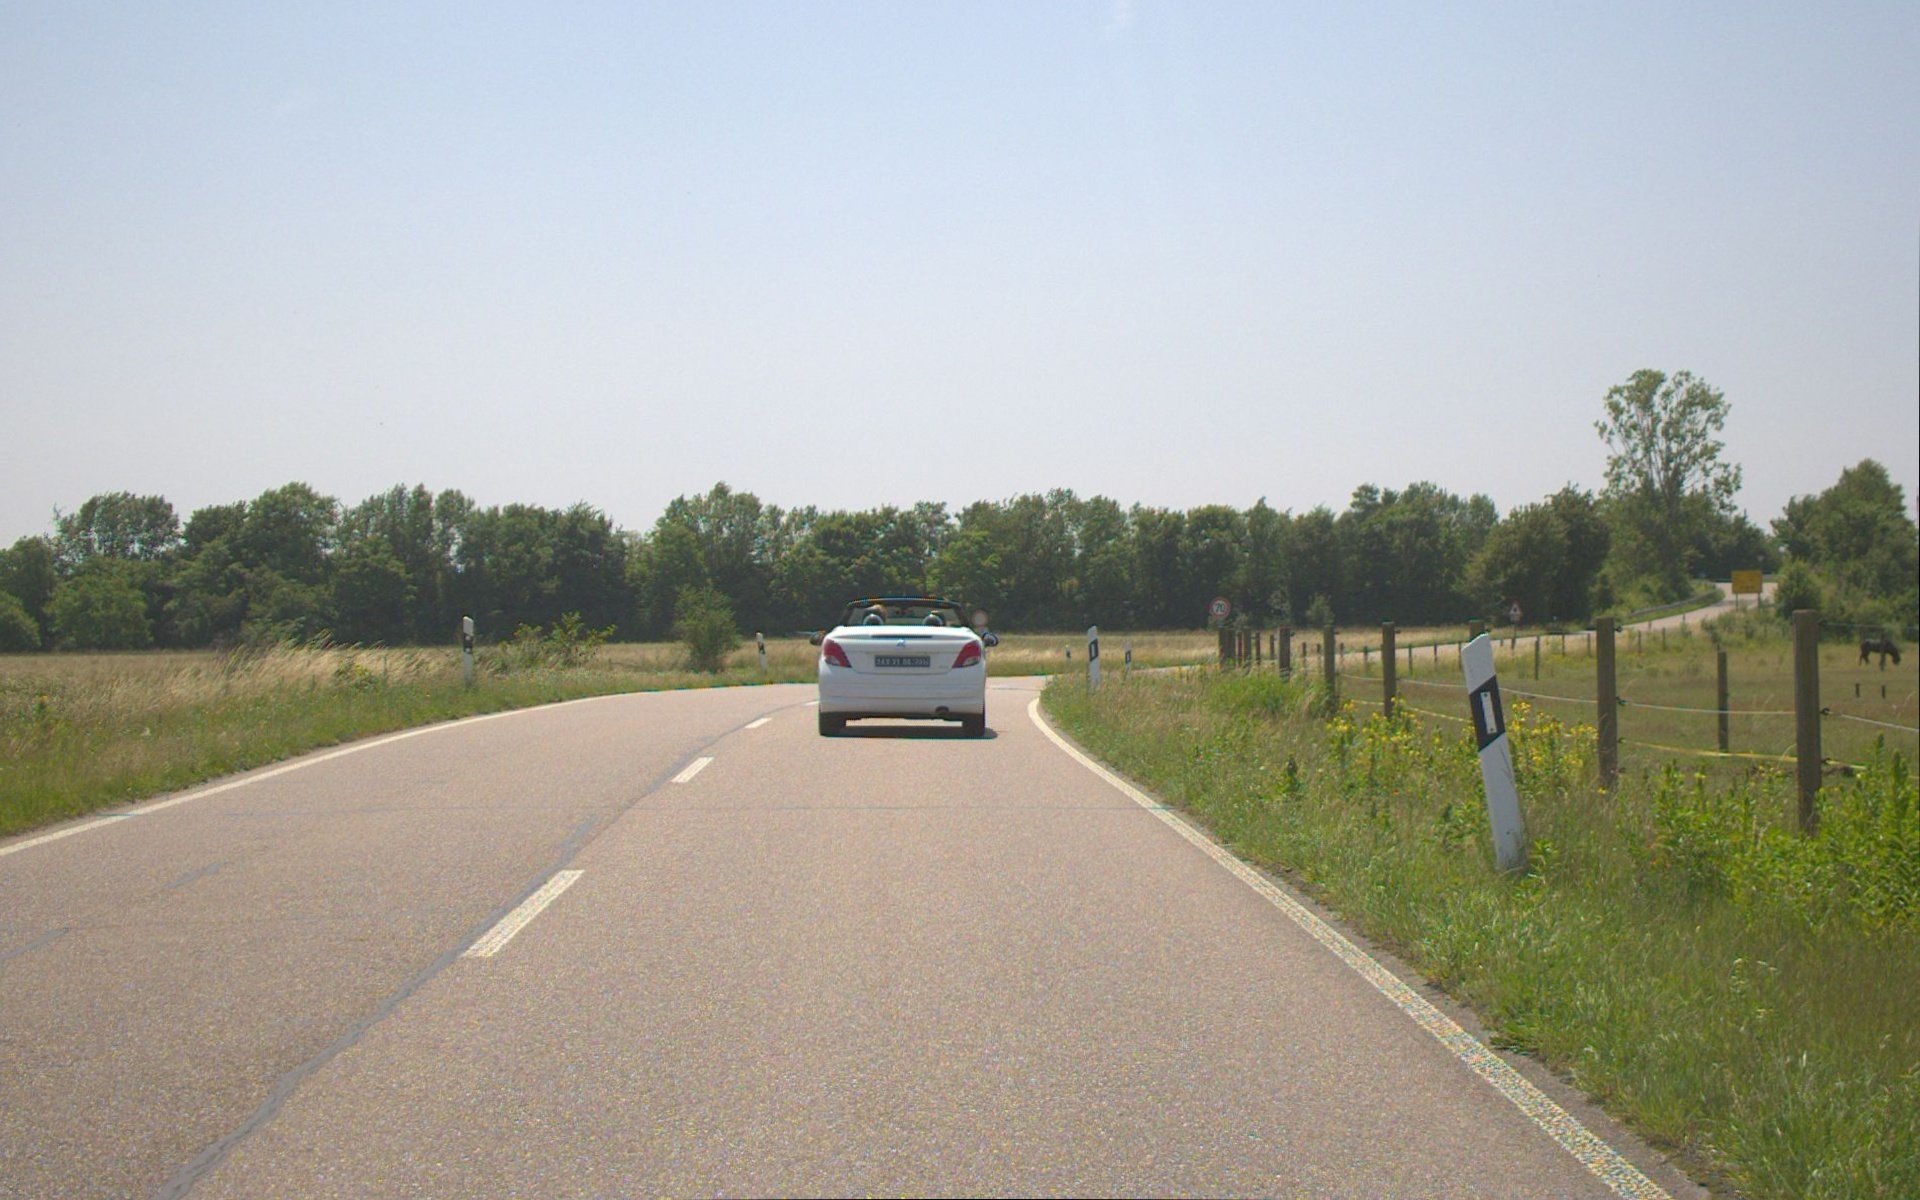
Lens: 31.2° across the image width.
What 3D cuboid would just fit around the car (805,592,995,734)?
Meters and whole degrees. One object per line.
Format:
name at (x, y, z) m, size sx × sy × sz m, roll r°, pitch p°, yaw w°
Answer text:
car at (-0.600, 0.620, 35.813) m, size 1.851 × 1.375 × 4.000 m, roll 0°, pitch 0°, yaw 0°
